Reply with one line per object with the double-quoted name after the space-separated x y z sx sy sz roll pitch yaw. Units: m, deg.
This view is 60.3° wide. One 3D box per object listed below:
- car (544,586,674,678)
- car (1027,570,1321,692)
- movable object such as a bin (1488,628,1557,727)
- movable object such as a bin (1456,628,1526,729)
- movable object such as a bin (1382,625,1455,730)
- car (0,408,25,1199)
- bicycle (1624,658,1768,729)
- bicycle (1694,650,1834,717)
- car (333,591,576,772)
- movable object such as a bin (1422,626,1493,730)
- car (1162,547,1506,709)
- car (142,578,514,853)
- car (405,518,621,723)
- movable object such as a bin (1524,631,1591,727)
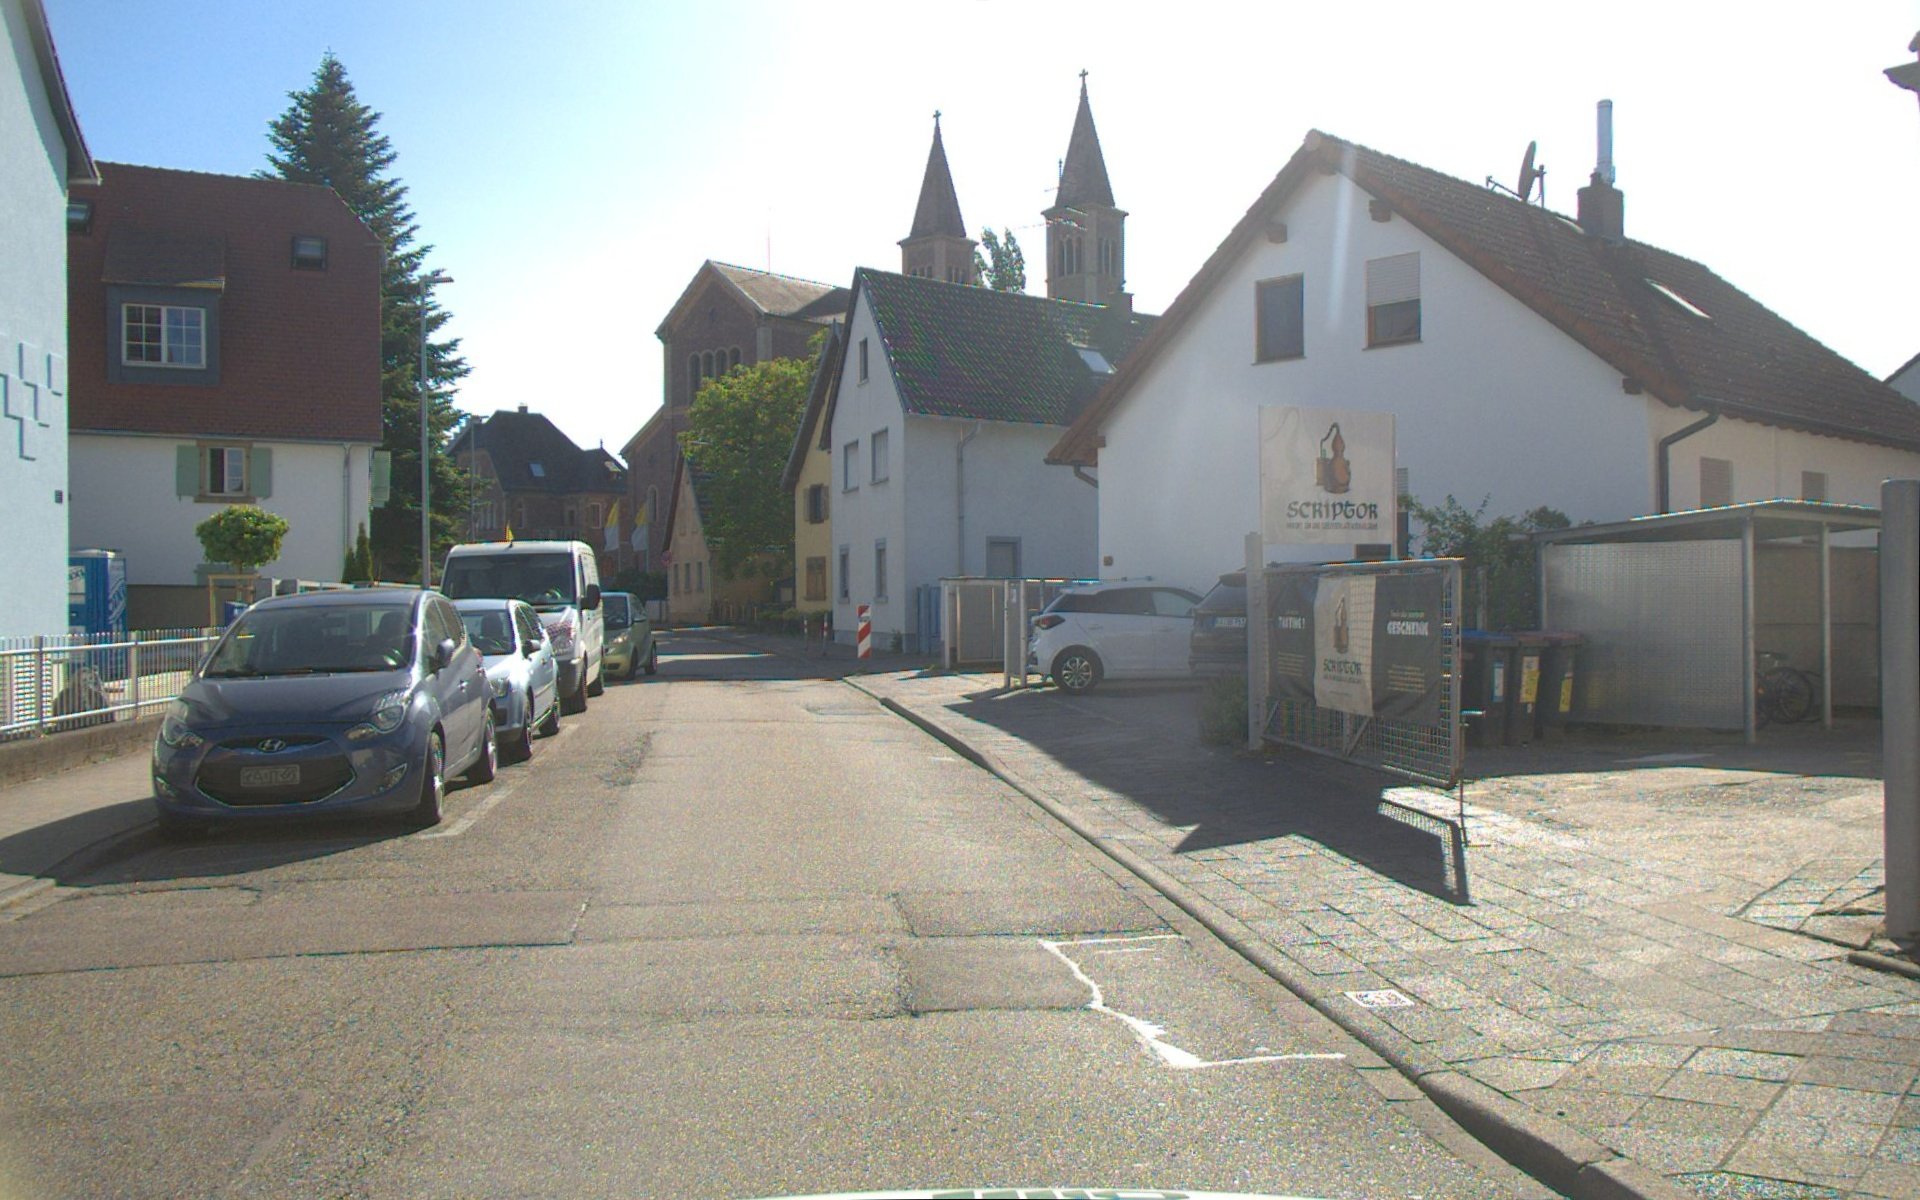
-6.363 0.544 30.234 1.541 1.573 2.967 -1 0 4 "car"
2.891 0.416 23.001 3.832 1.518 1.847 -2 0 0 "car"
5.473 0.750 16.095 0.511 0.939 0.417 2 -2 -38 "movable object such as a bin"
5.058 0.743 15.746 0.511 0.939 0.417 2 -2 -38 "movable object such as a bin"
4.181 0.700 15.092 0.511 0.939 0.417 2 -2 -38 "movable object such as a bin"
-2.939 0.529 1.483 1.867 1.951 5.060 -2 0 -8 "car"
7.691 0.968 17.322 0.367 0.668 1.346 -1 0 -41 "bicycle"
8.848 0.907 18.238 0.367 0.668 1.346 -1 0 -41 "bicycle"
-4.936 0.704 16.699 1.680 1.530 4.227 -2 1 -8 "car"
4.636 0.719 15.410 0.511 0.939 0.417 2 -2 -38 "movable object such as a bin"
4.535 0.271 19.835 4.006 1.718 1.887 -2 1 -37 "car"
-4.408 0.692 12.146 1.683 1.626 3.918 -2 1 -8 "car"
-6.134 0.230 23.471 2.156 2.431 6.053 -3 1 -8 "car"
5.994 0.784 16.594 0.511 0.939 0.417 2 -2 -38 "movable object such as a bin"
